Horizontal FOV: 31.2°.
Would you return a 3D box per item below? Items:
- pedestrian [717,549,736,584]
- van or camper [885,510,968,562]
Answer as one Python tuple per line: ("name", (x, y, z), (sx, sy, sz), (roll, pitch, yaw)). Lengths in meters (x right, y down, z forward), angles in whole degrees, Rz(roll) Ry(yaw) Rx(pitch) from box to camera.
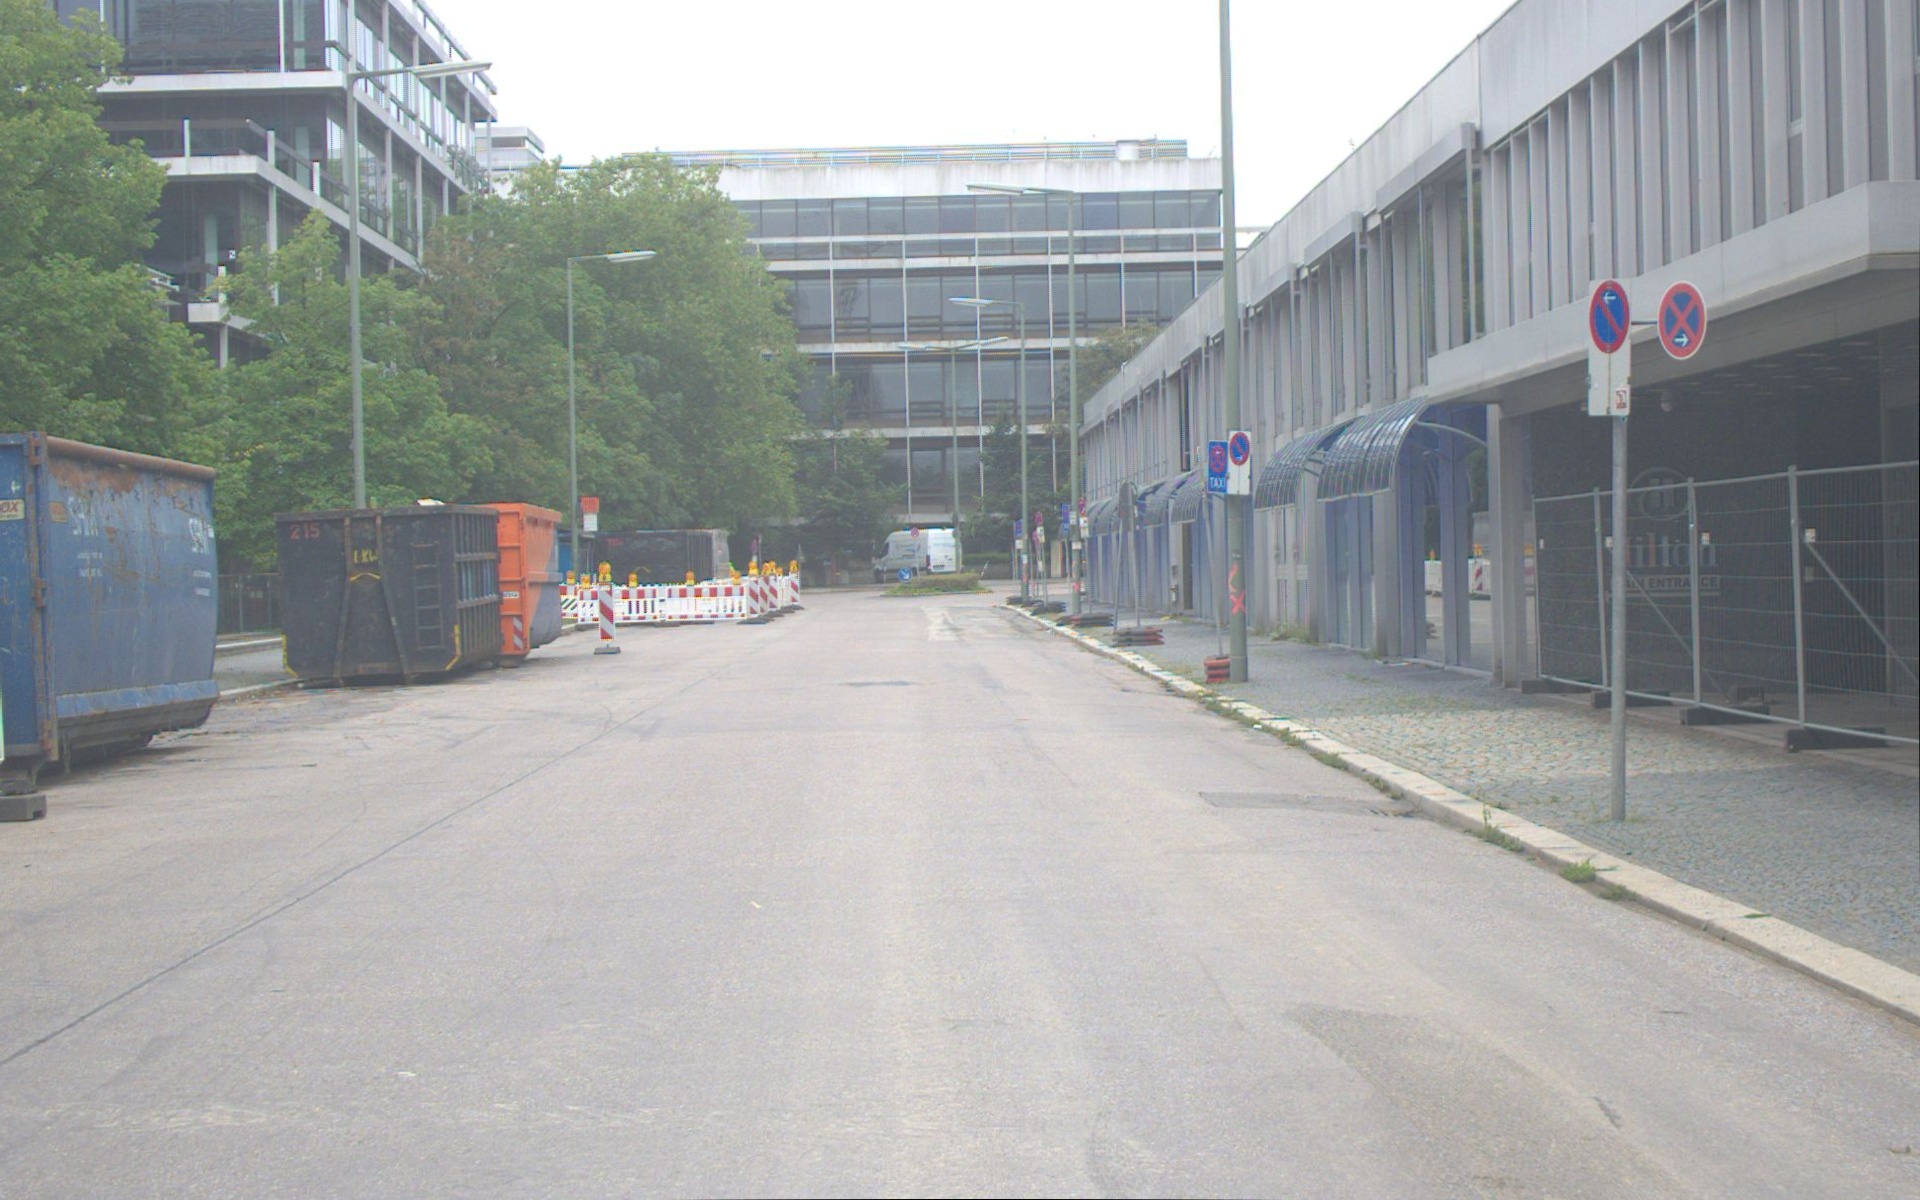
("pedestrian", (-11.344, -1.624, 167.089), (0.741, 1.671, 0.682), (-1, 1, -20))
("van or camper", (-1.666, -3.139, 168.430), (2.085, 2.483, 5.068), (-1, 1, -26))
